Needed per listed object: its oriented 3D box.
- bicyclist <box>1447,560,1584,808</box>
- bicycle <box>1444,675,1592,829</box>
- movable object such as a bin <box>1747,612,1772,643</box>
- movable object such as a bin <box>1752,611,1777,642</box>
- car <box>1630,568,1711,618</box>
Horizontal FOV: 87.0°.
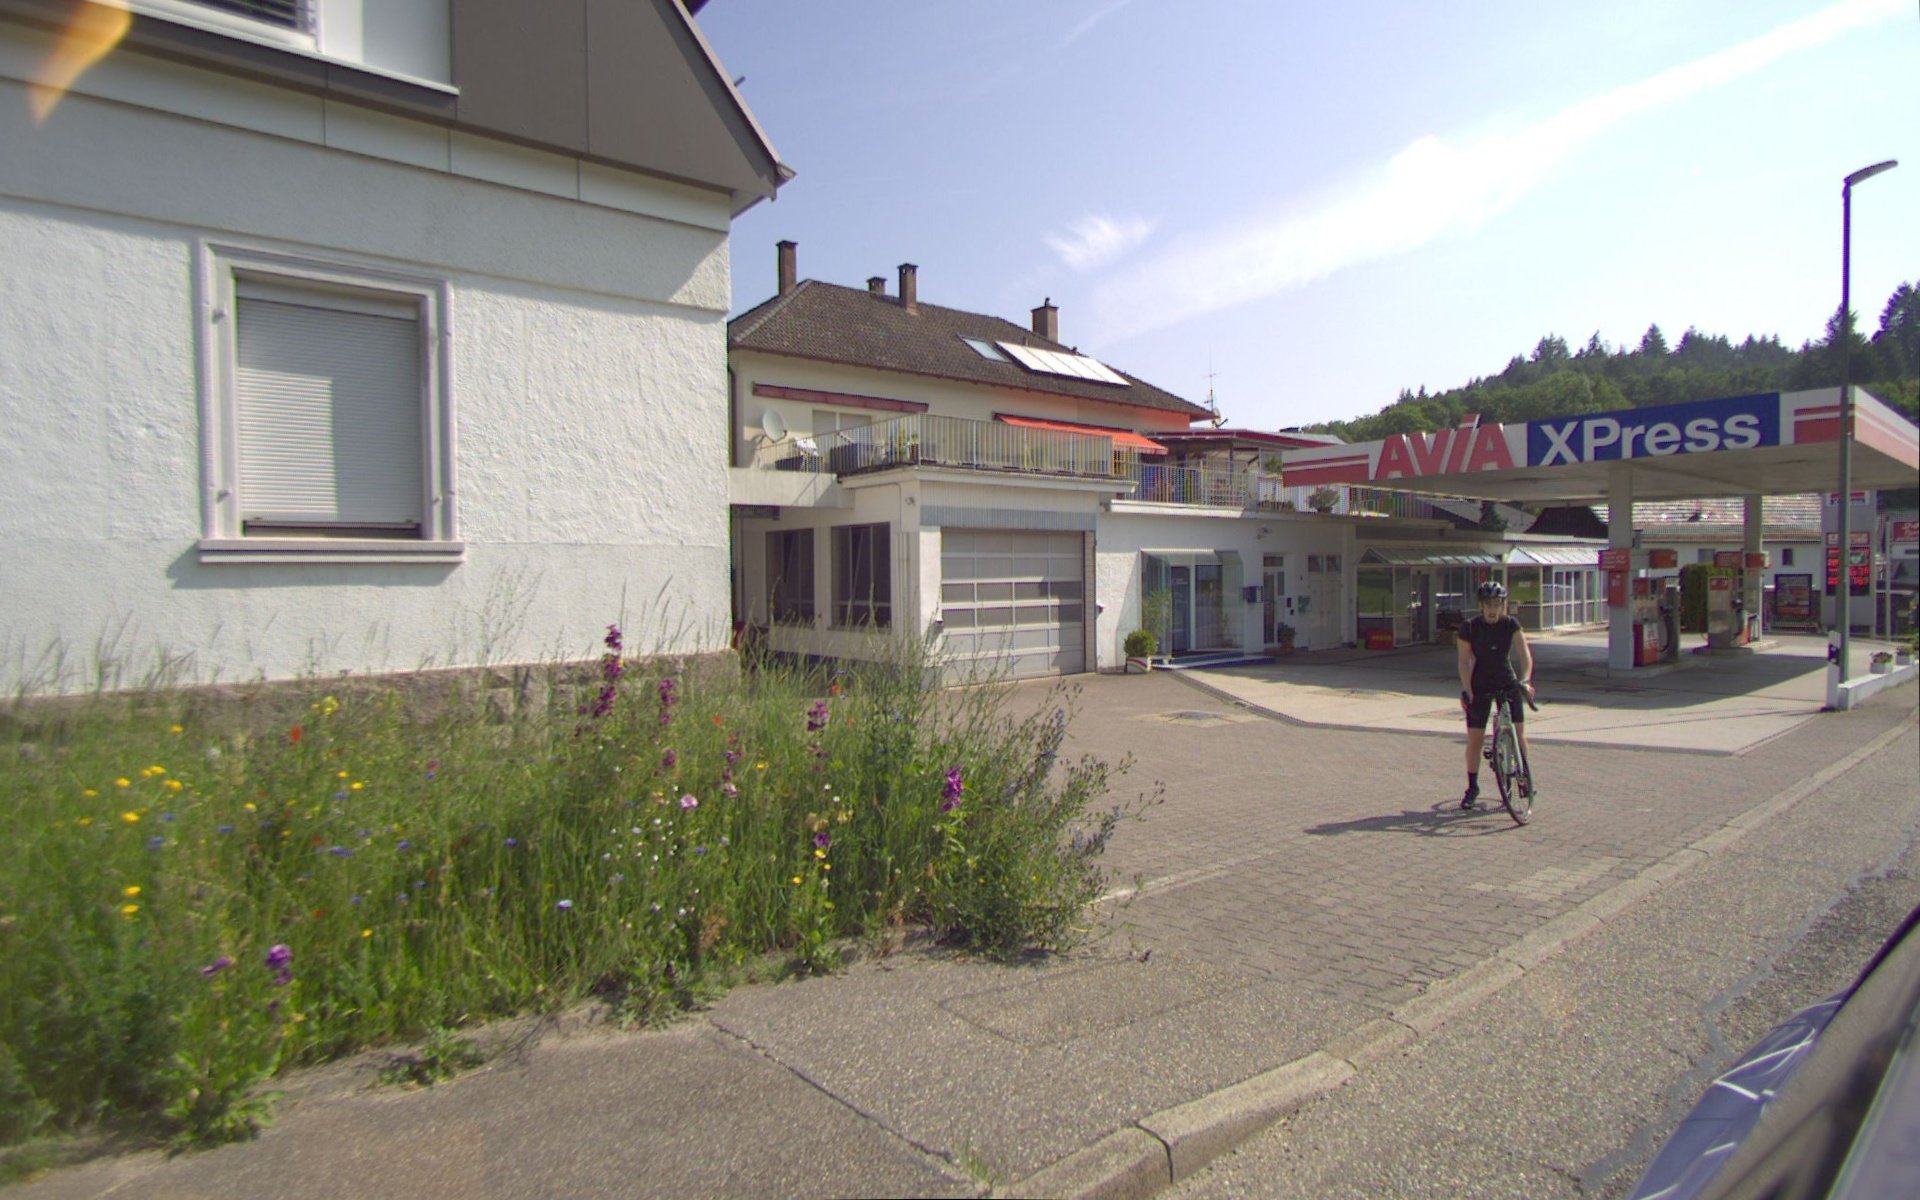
[{"bbox_3d":[4.018,0.584,7.406,0.682,1.654,1.132,-1,-3,21],"label":"bicyclist"},{"bbox_3d":[4.101,1.056,7.576,0.682,0.930,1.935,-1,-3,21],"label":"bicycle"},{"bbox_3d":[22.779,0.768,28.837,0.488,0.856,0.480,0,0,-43],"label":"movable object such as a bin"},{"bbox_3d":[23.189,0.760,29.167,0.519,0.856,0.480,0,0,-43],"label":"movable object such as a bin"},{"bbox_3d":[27.582,-0.273,39.275,3.931,1.839,1.682,-1,0,-42],"label":"car"}]
